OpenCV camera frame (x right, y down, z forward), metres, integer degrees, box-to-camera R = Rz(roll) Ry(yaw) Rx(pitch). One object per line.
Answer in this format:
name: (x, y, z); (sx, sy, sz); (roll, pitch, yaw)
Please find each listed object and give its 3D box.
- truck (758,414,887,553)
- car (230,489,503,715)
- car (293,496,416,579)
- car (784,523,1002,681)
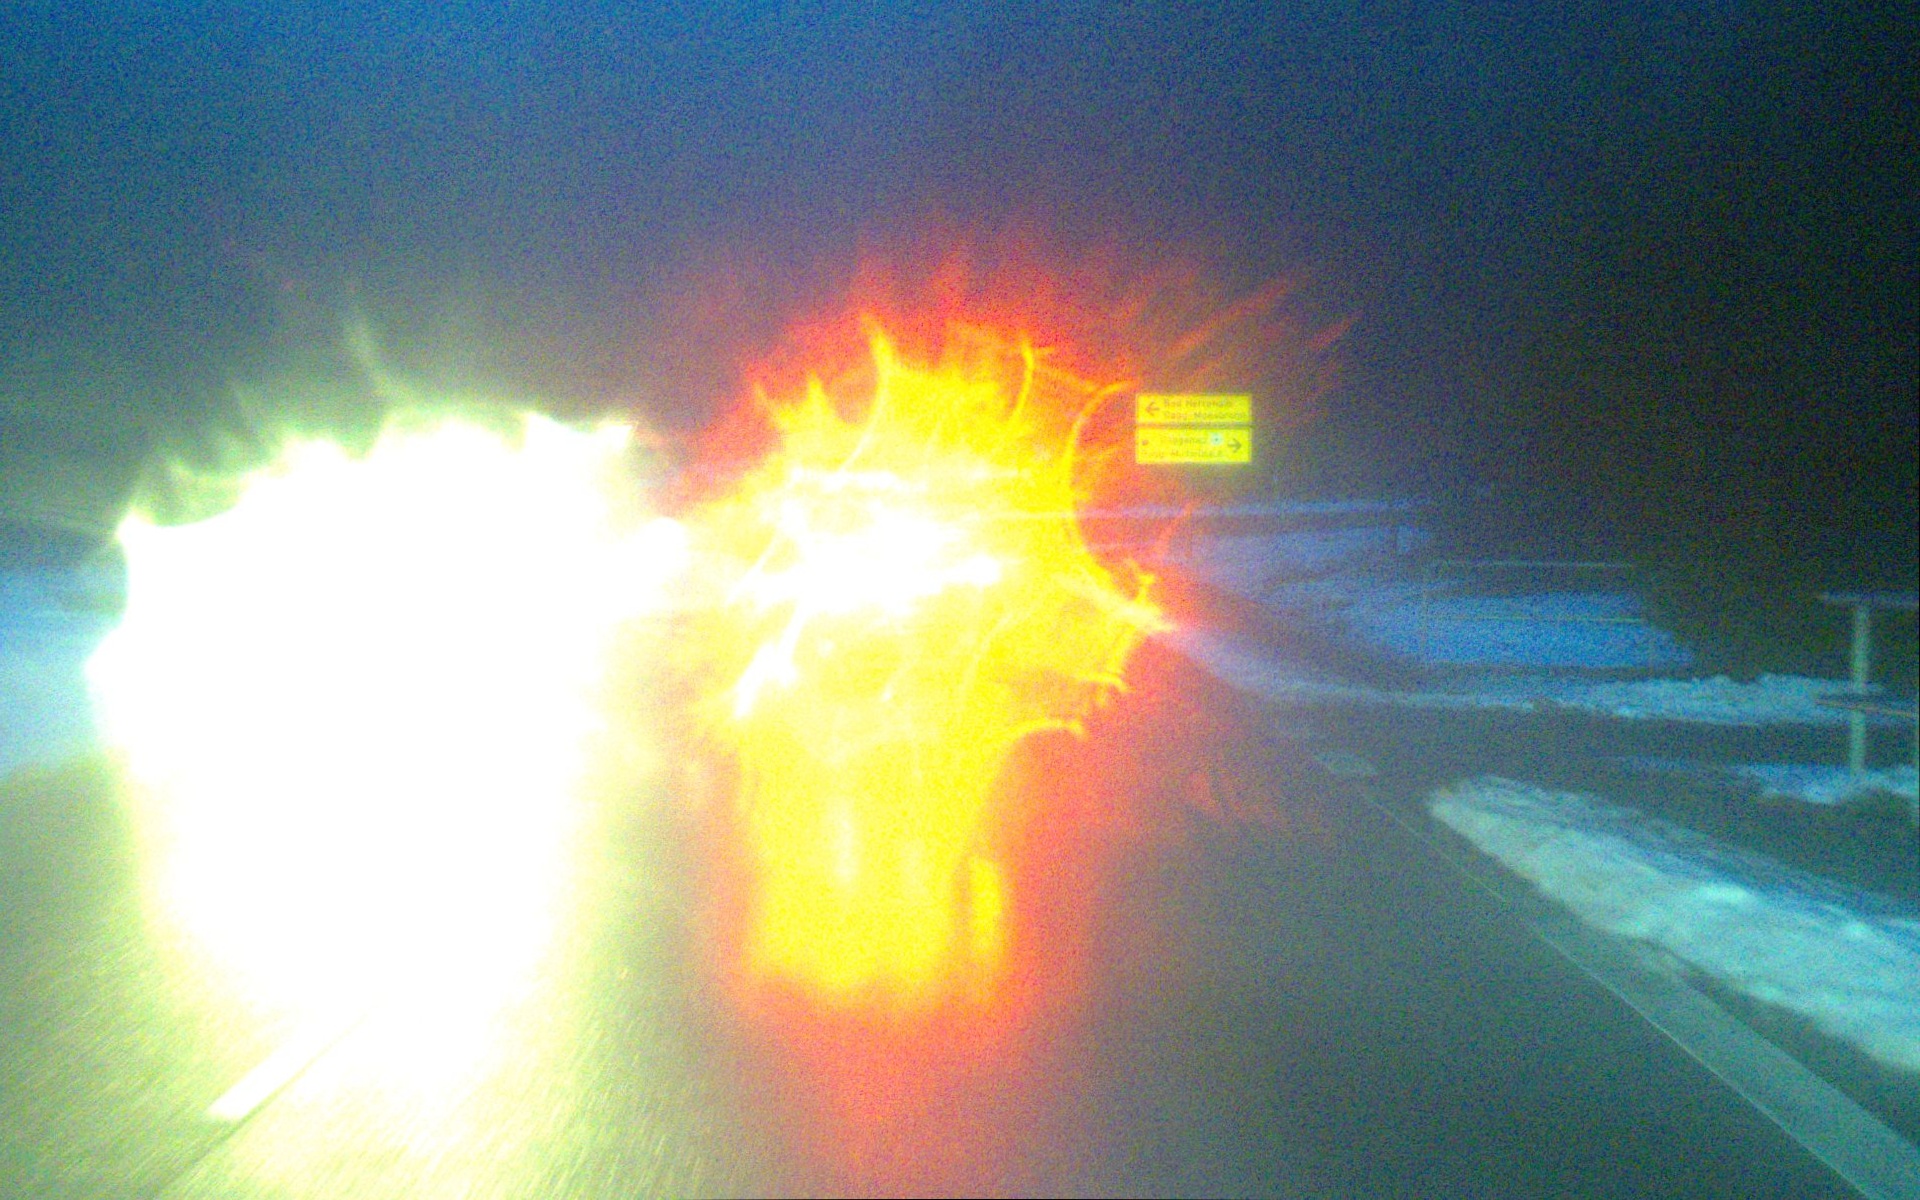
truck: (-2.867, -2.389, 70.616); (2.075, 2.736, 5.321); (-1, 2, -8)
car: (-4.890, -0.053, 28.854); (1.751, 1.687, 4.427); (-2, 2, -4)
car: (-12.263, -1.294, 69.850); (1.741, 1.481, 4.005); (-3, 3, 0)
car: (-0.704, -0.027, 33.012); (1.921, 1.272, 4.001); (-1, 3, -3)
